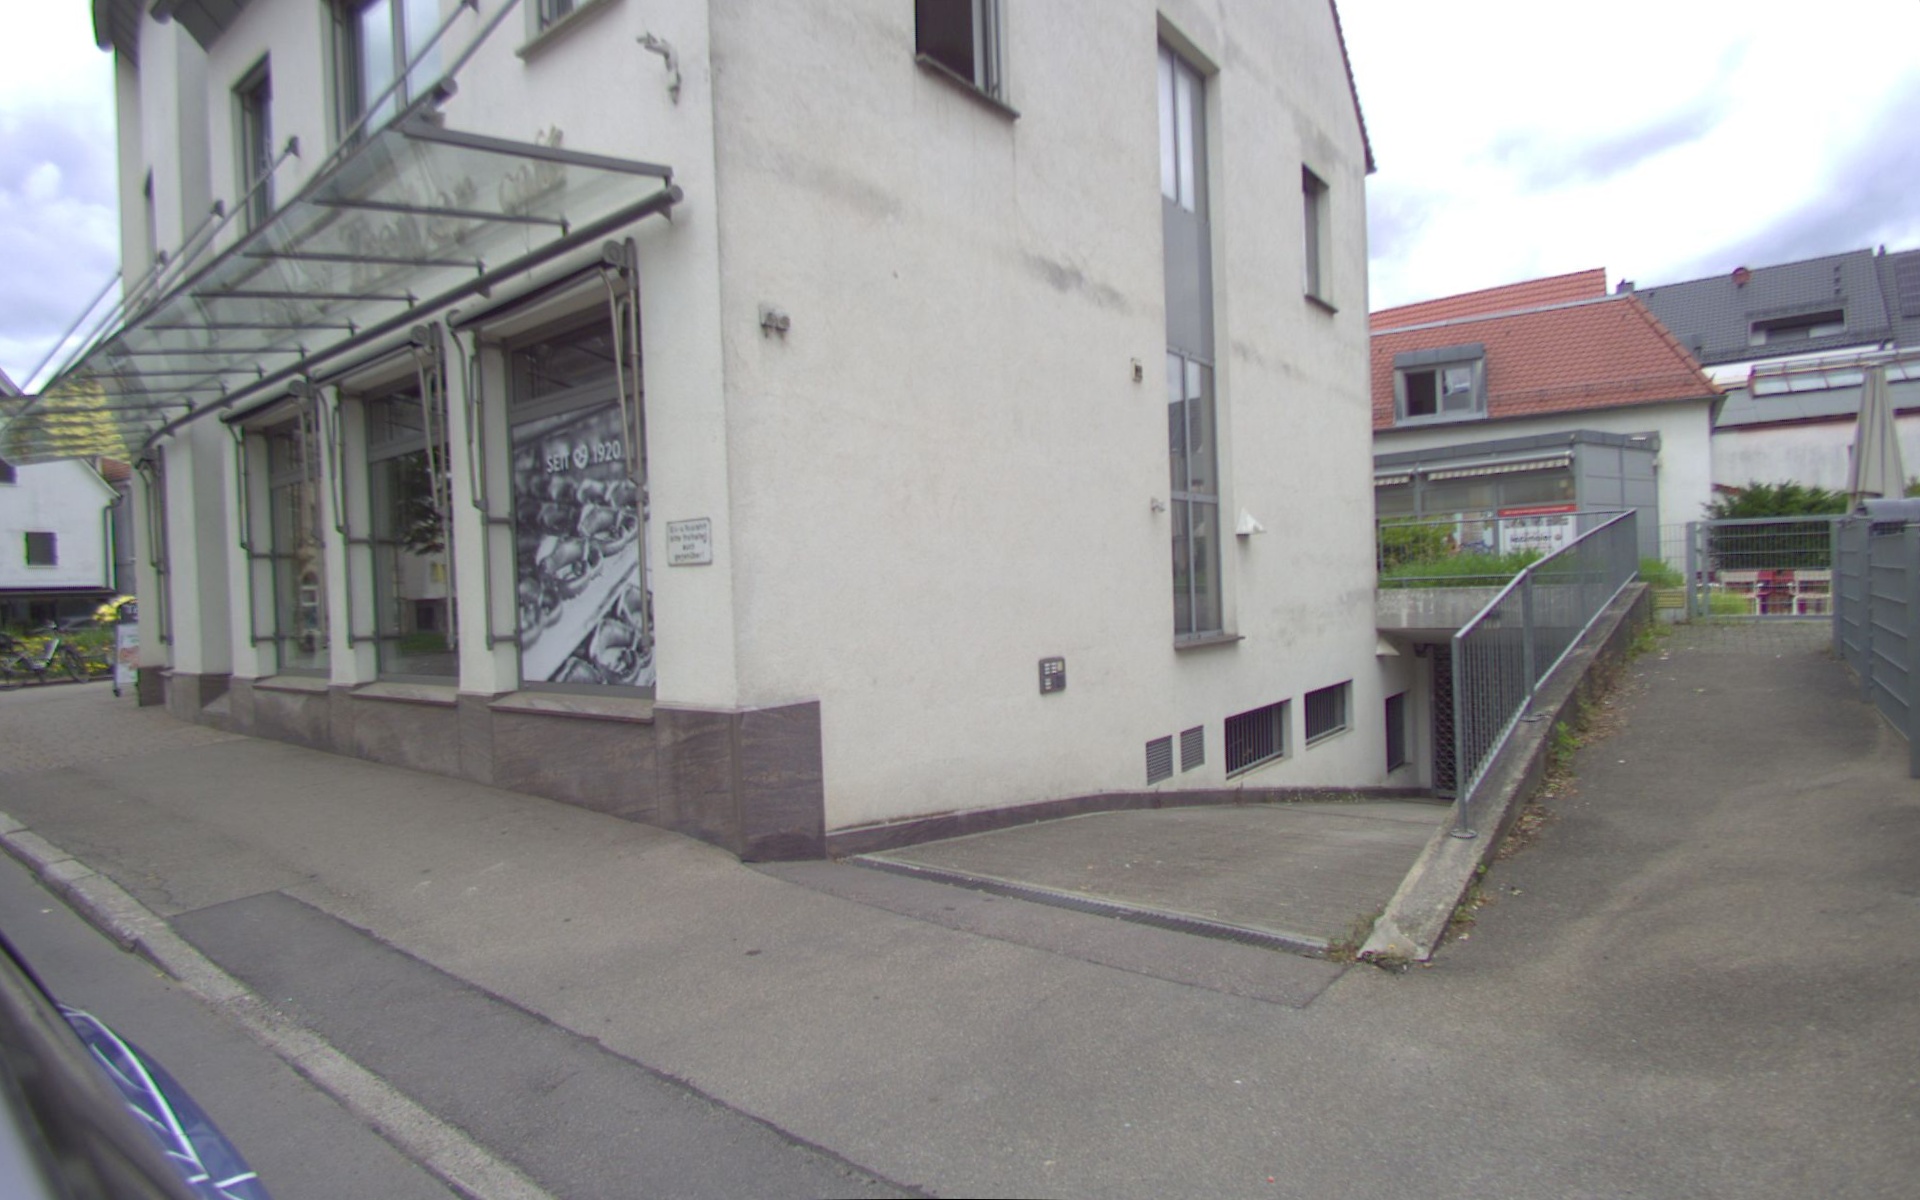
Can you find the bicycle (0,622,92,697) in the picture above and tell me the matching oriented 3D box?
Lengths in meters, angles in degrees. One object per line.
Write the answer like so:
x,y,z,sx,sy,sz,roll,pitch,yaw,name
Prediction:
-17.191,1.098,18.423,0.739,1.249,1.966,-3,1,21,bicycle
